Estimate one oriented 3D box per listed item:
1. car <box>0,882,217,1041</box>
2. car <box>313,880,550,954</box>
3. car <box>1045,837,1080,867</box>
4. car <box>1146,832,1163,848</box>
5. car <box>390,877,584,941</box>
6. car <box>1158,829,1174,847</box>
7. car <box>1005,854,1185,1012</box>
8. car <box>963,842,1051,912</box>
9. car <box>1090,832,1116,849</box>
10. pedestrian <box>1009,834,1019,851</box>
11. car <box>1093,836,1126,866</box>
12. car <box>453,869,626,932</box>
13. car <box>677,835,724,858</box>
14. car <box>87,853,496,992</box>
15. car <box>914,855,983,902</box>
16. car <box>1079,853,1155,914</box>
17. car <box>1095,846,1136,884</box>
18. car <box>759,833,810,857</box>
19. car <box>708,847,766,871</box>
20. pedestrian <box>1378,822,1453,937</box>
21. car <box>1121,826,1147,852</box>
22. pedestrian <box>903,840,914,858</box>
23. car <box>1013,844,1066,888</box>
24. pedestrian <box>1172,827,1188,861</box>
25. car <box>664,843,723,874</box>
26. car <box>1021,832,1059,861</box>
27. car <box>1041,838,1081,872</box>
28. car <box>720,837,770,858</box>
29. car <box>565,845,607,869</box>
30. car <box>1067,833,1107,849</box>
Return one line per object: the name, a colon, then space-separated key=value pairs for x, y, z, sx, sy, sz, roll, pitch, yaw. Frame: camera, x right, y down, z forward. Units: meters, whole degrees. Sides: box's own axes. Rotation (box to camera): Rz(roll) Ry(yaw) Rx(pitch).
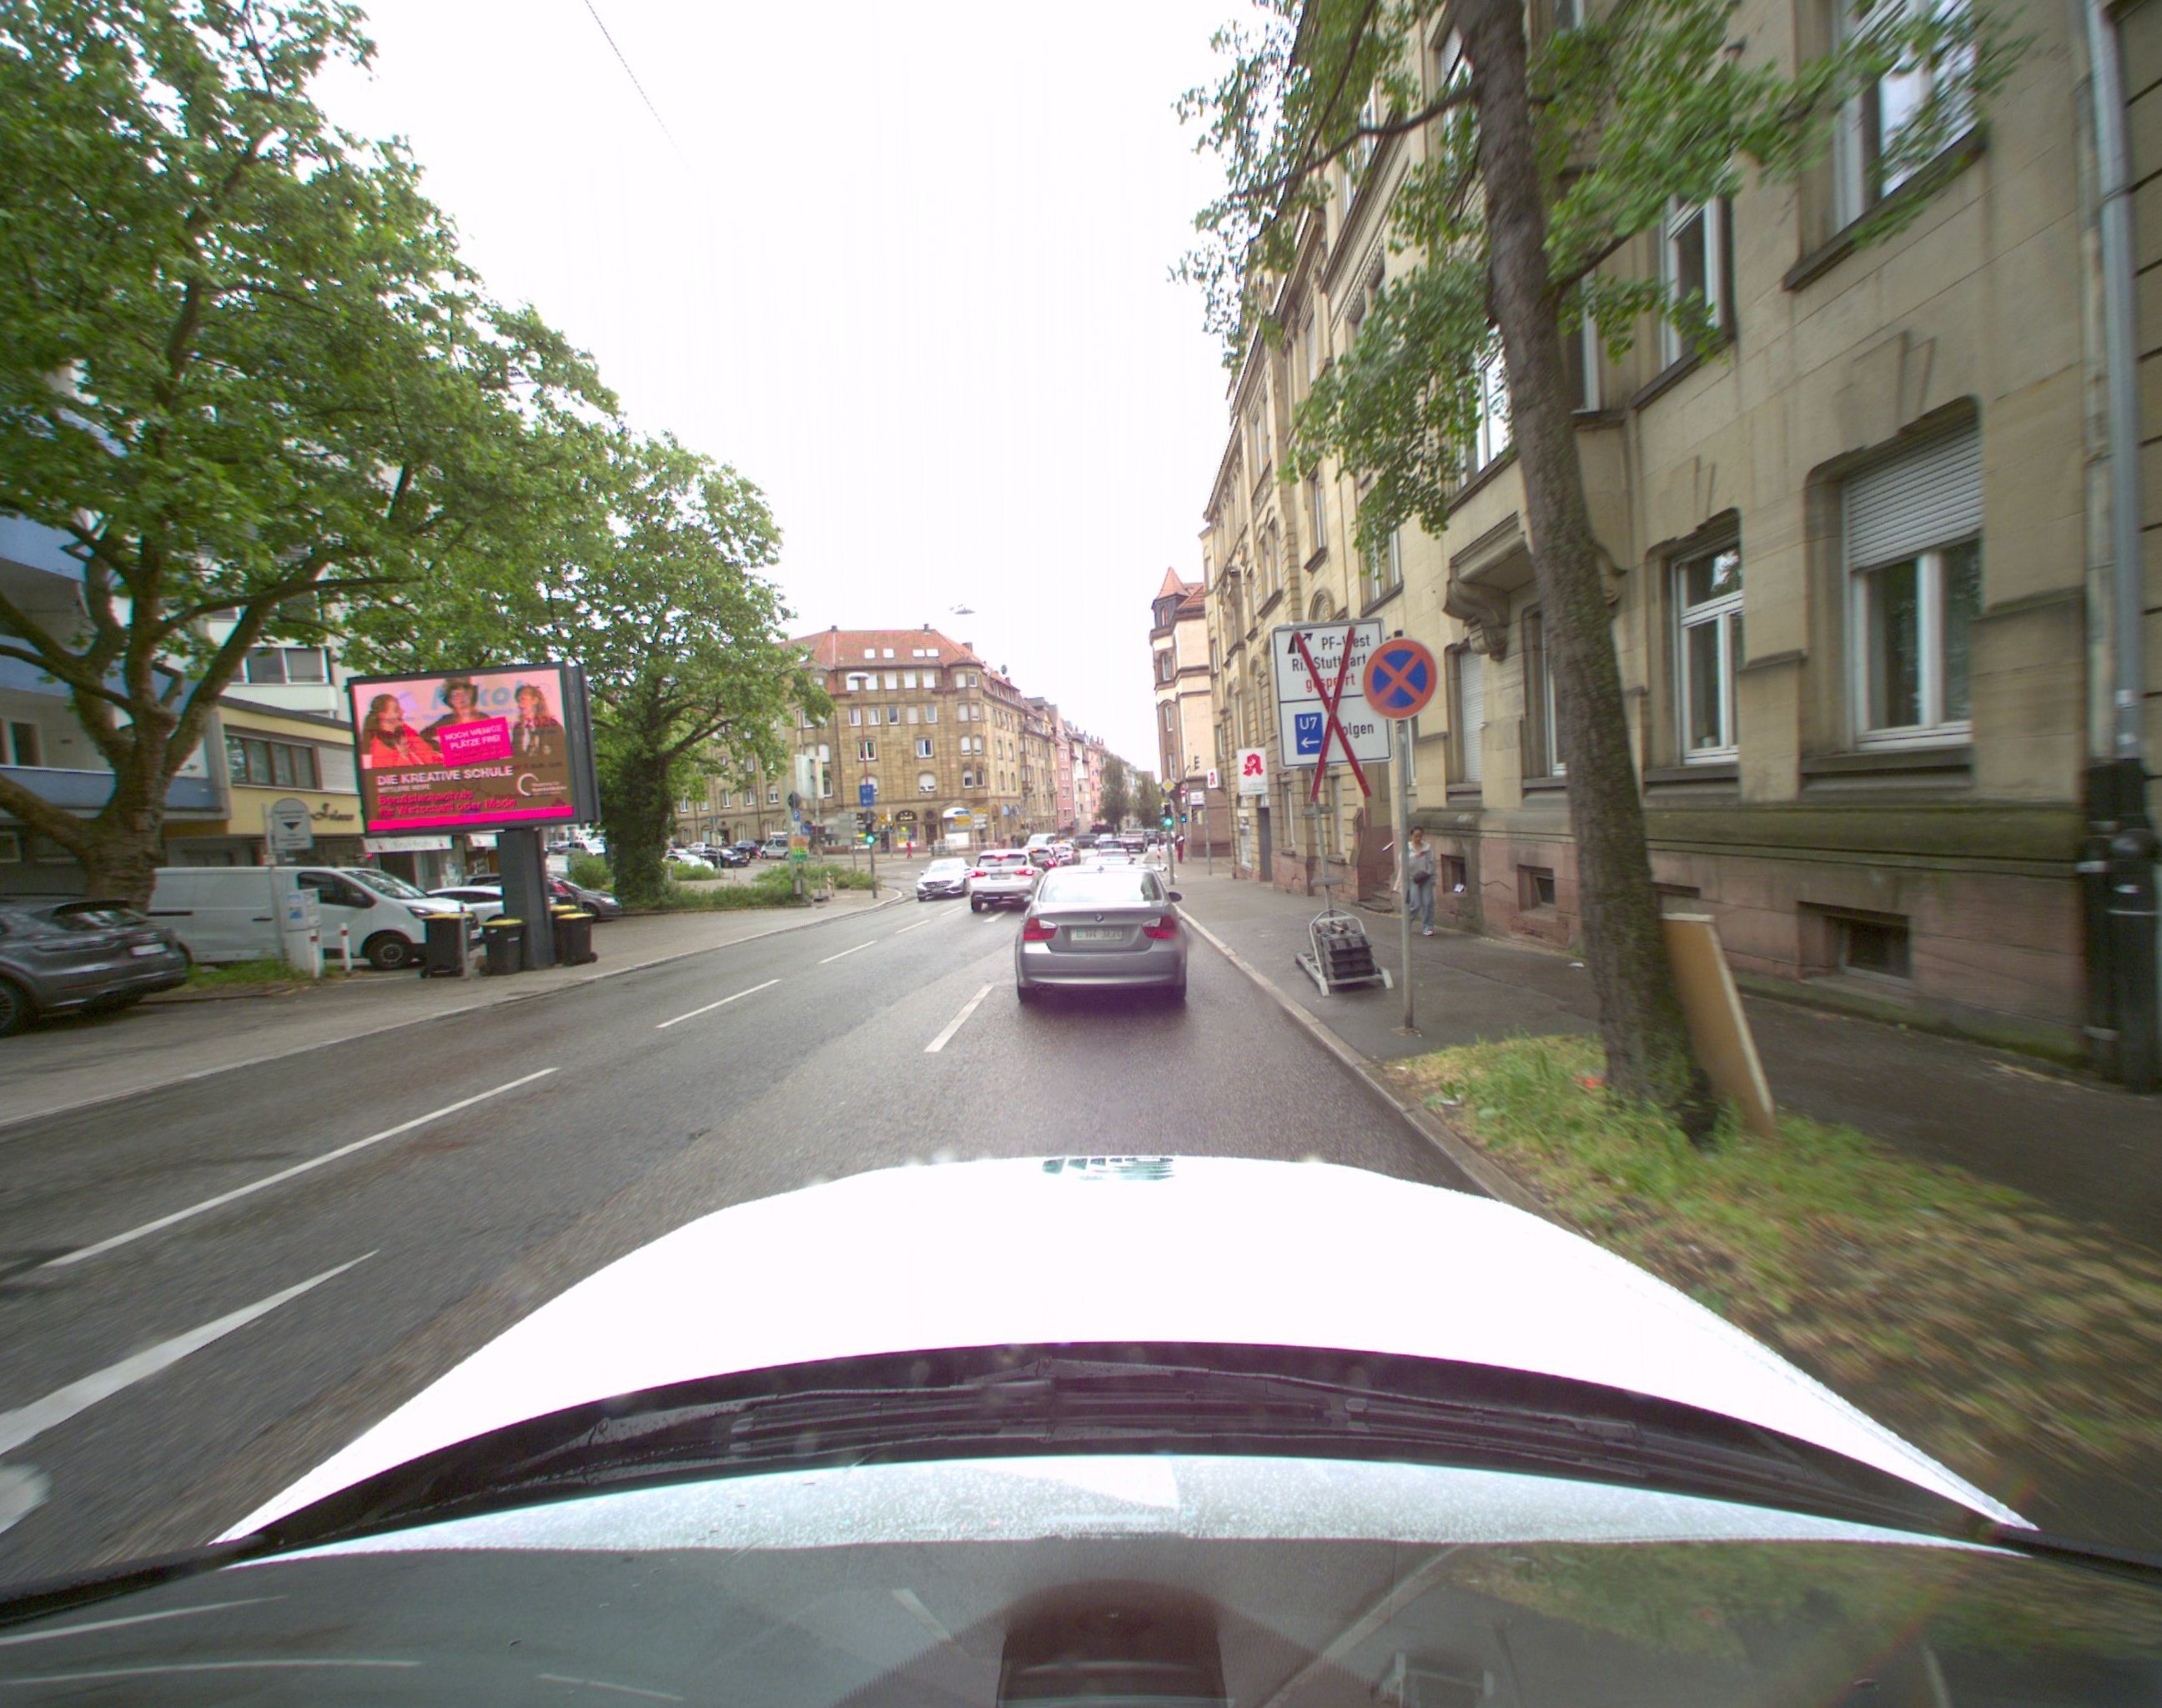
car: x=-14.226 y=1.372 z=10.086 sx=4.369 sy=1.784 sz=1.927 roll=-2 pitch=0 yaw=-19
car: x=-15.929 y=1.500 z=20.250 sx=4.183 sy=1.456 sz=1.783 roll=-3 pitch=0 yaw=-19
car: x=-1.062 y=-0.143 z=49.353 sx=1.752 sy=1.707 sz=4.004 roll=-2 pitch=0 yaw=3
car: x=7.707 y=-1.475 z=86.025 sx=1.717 sy=1.552 sz=4.005 roll=0 pitch=0 yaw=4
car: x=-16.511 y=1.497 z=22.877 sx=3.984 sy=1.450 sz=1.758 roll=-2 pitch=0 yaw=-19
car: x=10.211 y=-1.918 z=97.722 sx=1.715 sy=2.014 sz=4.009 roll=0 pitch=0 yaw=8
car: x=0.237 y=0.727 z=9.277 sx=1.616 sy=1.383 sz=3.619 roll=-2 pitch=0 yaw=3
car: x=-1.980 y=0.552 z=22.894 sx=1.861 sy=1.625 sz=4.002 roll=-4 pitch=2 yaw=2
car: x=2.132 y=-1.278 z=78.014 sx=1.832 sy=1.541 sz=4.013 roll=0 pitch=0 yaw=12
pedestrian: x=-6.306 y=-1.067 z=76.545 sx=0.727 sy=1.577 sz=0.530 roll=-3 pitch=0 yaw=11
car: x=1.653 y=-0.185 z=46.477 sx=1.752 sy=1.567 sz=4.004 roll=-2 pitch=1 yaw=3
car: x=-16.753 y=1.379 z=25.430 sx=4.138 sy=1.653 sz=1.757 roll=-2 pitch=0 yaw=-21
car: x=-36.846 y=-0.754 z=78.812 sx=4.238 sy=2.101 sz=2.013 roll=1 pitch=2 yaw=30
car: x=-14.423 y=1.162 z=15.334 sx=5.075 sy=2.105 sz=1.980 roll=-2 pitch=0 yaw=-19
car: x=-5.113 y=0.886 z=32.060 sx=1.731 sy=1.526 sz=4.474 roll=-6 pitch=0 yaw=2
car: x=0.977 y=0.696 z=21.381 sx=1.752 sy=1.383 sz=4.004 roll=-2 pitch=0 yaw=3
car: x=1.480 y=0.401 z=34.059 sx=1.588 sy=1.464 sz=4.004 roll=-1 pitch=0 yaw=4
car: x=-26.490 y=-0.815 z=72.809 sx=4.238 sy=2.101 sz=2.013 roll=1 pitch=2 yaw=30
car: x=-26.187 y=0.356 z=62.021 sx=4.194 sy=1.726 sz=2.013 roll=0 pitch=2 yaw=33
pedestrian: x=4.704 y=0.351 z=11.495 sx=0.629 sy=1.508 sz=0.693 roll=-7 pitch=0 yaw=1
car: x=4.327 y=-1.204 z=67.188 sx=1.986 sy=2.106 sz=4.002 roll=-1 pitch=0 yaw=2
pedestrian: x=-14.993 y=-0.432 z=70.884 sx=0.532 sy=1.577 sz=0.723 roll=-3 pitch=0 yaw=19
car: x=-1.701 y=0.449 z=34.421 sx=1.752 sy=1.707 sz=4.004 roll=-2 pitch=0 yaw=3
pedestrian: x=5.724 y=-0.596 z=47.052 sx=0.739 sy=1.910 sz=0.659 roll=-3 pitch=0 yaw=1
car: x=-27.325 y=0.336 z=57.448 sx=3.948 sy=2.013 sz=1.890 roll=-3 pitch=0 yaw=34
car: x=-2.941 y=-0.556 z=59.367 sx=1.751 sy=1.925 sz=4.335 roll=-3 pitch=0 yaw=10
car: x=-1.031 y=0.021 z=43.631 sx=1.752 sy=1.707 sz=4.004 roll=-2 pitch=0 yaw=3
car: x=-31.004 y=-0.597 z=75.087 sx=4.238 sy=1.838 sz=2.013 roll=1 pitch=2 yaw=30
car: x=-44.063 y=0.235 z=72.475 sx=3.948 sy=2.013 sz=1.587 roll=-1 pitch=1 yaw=34
car: x=0.809 y=-1.667 z=105.279 sx=5.157 sy=2.014 sz=2.699 roll=0 pitch=0 yaw=1
